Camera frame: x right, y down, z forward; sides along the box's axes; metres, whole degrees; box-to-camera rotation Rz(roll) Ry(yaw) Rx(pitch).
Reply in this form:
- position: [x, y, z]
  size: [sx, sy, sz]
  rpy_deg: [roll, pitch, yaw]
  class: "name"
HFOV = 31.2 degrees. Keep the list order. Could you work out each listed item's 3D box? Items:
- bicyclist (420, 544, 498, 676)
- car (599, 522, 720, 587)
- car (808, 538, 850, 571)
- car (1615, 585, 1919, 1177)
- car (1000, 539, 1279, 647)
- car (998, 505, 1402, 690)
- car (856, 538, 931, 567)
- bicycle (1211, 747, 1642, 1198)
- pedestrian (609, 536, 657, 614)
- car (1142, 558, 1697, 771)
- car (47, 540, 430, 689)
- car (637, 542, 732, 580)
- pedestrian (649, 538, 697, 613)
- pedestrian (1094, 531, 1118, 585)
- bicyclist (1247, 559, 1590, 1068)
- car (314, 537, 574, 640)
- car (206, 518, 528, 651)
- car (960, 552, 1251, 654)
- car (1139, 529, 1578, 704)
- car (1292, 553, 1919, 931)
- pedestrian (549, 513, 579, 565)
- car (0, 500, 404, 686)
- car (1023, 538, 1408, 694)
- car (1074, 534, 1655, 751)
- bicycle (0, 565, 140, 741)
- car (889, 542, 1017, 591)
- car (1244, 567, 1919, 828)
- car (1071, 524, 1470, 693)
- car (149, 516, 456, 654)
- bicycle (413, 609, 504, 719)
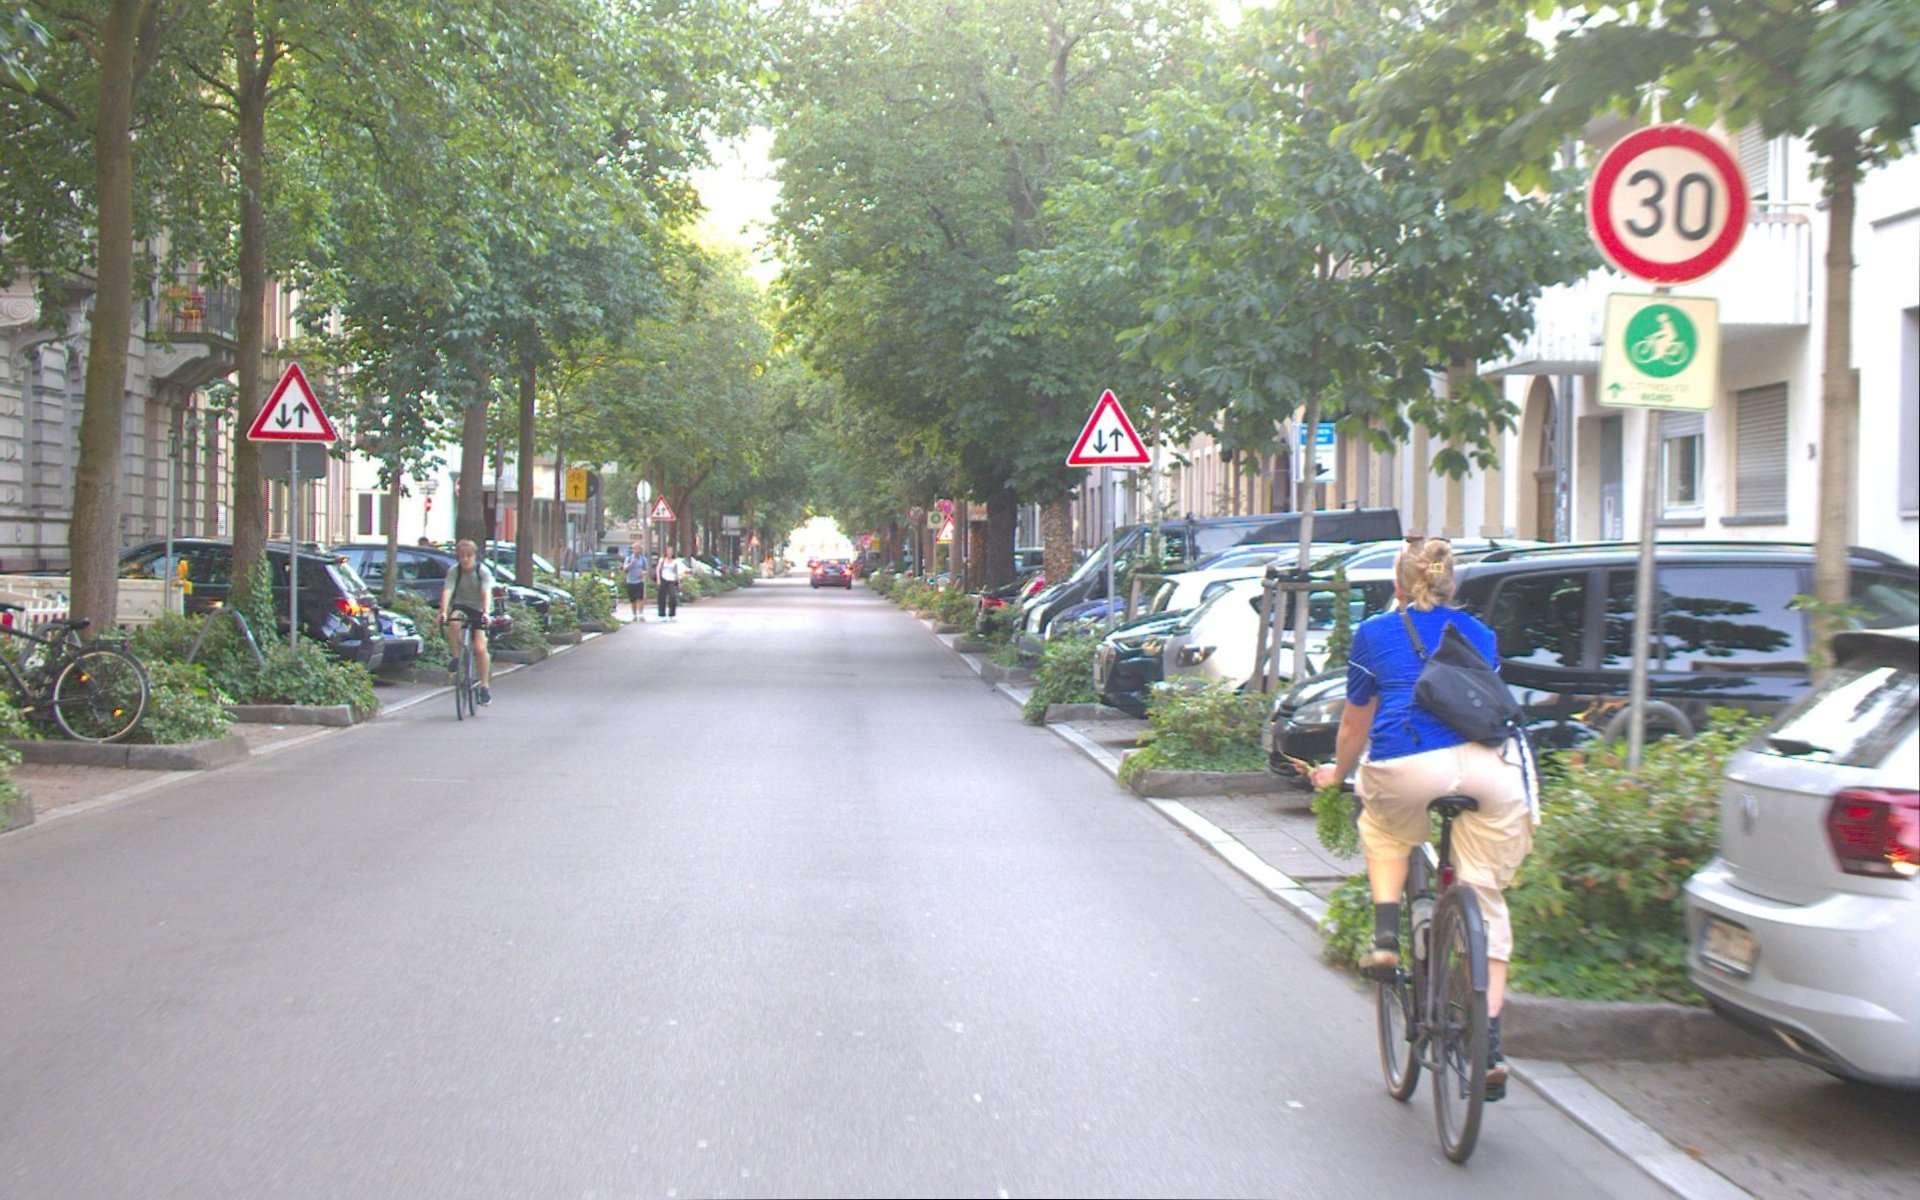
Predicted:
- position: [-4.840, 0.091, 33.229]
  size: [0.672, 1.259, 0.648]
  rpy_deg: [0, 1, -2]
  class: "bicyclist"
- position: [-11.960, -1.814, 136.921]
  size: [4.682, 2.469, 2.000]
  rpy_deg: [1, 0, -2]
  class: "car"
- position: [-6.345, -2.196, 166.571]
  size: [1.956, 1.560, 4.283]
  rpy_deg: [-1, 0, -2]
  class: "car"
- position: [3.980, 0.710, 9.415]
  size: [3.986, 1.432, 1.794]
  rpy_deg: [1, 1, -1]
  class: "car"
- position: [2.703, -0.118, 52.427]
  size: [3.986, 1.433, 1.927]
  rpy_deg: [-3, 1, -3]
  class: "car"
- position: [2.906, -0.049, 42.398]
  size: [4.689, 2.004, 2.037]
  rpy_deg: [-3, 1, -3]
  class: "car"
- position: [-3.889, -2.763, 200.336]
  size: [4.268, 1.560, 1.963]
  rpy_deg: [-1, 0, -2]
  class: "car"
- position: [1.250, 0.983, 9.640]
  size: [0.672, 1.026, 1.977]
  rpy_deg: [2, 0, -7]
  class: "bicycle"
- position: [-7.316, -0.572, 76.848]
  size: [0.794, 1.731, 0.831]
  rpy_deg: [-1, 1, -30]
  class: "pedestrian"
- position: [3.547, 0.480, 27.104]
  size: [4.074, 1.424, 1.818]
  rpy_deg: [-3, 1, 0]
  class: "car"
- position: [-8.224, 0.145, 39.449]
  size: [3.965, 1.382, 1.765]
  rpy_deg: [4, 2, -1]
  class: "car"
- position: [-12.574, -1.785, 157.074]
  size: [4.202, 1.630, 1.963]
  rpy_deg: [-1, 0, -2]
  class: "car"
- position: [-6.438, -0.562, 77.054]
  size: [0.794, 1.665, 0.831]
  rpy_deg: [-1, 1, -30]
  class: "pedestrian"
- position: [4.241, -1.220, 99.753]
  size: [0.655, 1.531, 0.831]
  rpy_deg: [0, 1, -1]
  class: "pedestrian"
- position: [1.270, 0.577, 9.634]
  size: [0.672, 1.359, 0.777]
  rpy_deg: [2, 0, -13]
  class: "bicyclist"
- position: [-8.294, -0.196, 55.535]
  size: [3.945, 1.527, 1.908]
  rpy_deg: [2, 0, -3]
  class: "car"
- position: [-8.343, -0.237, 48.627]
  size: [4.201, 1.666, 1.908]
  rpy_deg: [2, 1, -2]
  class: "car"
- position: [2.294, 0.036, 54.895]
  size: [4.400, 1.389, 1.886]
  rpy_deg: [-3, 1, -4]
  class: "car"
- position: [3.687, 0.138, 32.220]
  size: [3.792, 1.418, 1.698]
  rpy_deg: [-3, 1, -3]
  class: "car"
- position: [3.716, 0.613, 15.917]
  size: [4.109, 1.612, 1.961]
  rpy_deg: [1, 1, -1]
  class: "car"
- position: [-13.615, -2.103, 118.220]
  size: [0.704, 1.751, 0.739]
  rpy_deg: [1, 0, 22]
  class: "pedestrian"
- position: [-8.015, -0.081, 36.194]
  size: [3.965, 1.591, 1.781]
  rpy_deg: [5, 0, -2]
  class: "car"
- position: [2.911, 0.167, 39.854]
  size: [4.155, 1.573, 1.970]
  rpy_deg: [-3, 1, -3]
  class: "car"
- position: [3.376, 0.336, 29.320]
  size: [4.589, 1.573, 1.944]
  rpy_deg: [-3, 1, -3]
  class: "car"
- position: [-6.837, 0.366, 24.638]
  size: [1.771, 1.228, 0.500]
  rpy_deg: [1, 0, 3]
  class: "bicycle"
- position: [-0.262, -1.267, 128.809]
  size: [4.717, 1.704, 1.950]
  rpy_deg: [1, 1, 0]
  class: "car"
- position: [4.029, 0.565, 21.267]
  size: [4.314, 1.491, 1.794]
  rpy_deg: [-1, 1, -3]
  class: "car"
- position: [3.279, 0.072, 36.796]
  size: [3.964, 1.573, 1.852]
  rpy_deg: [-3, 1, -3]
  class: "car"
- position: [-8.793, -0.214, 46.182]
  size: [3.800, 1.666, 1.714]
  rpy_deg: [2, 1, -3]
  class: "car"
- position: [-4.847, 0.607, 33.314]
  size: [0.672, 0.990, 1.758]
  rpy_deg: [0, 1, -2]
  class: "bicycle"
